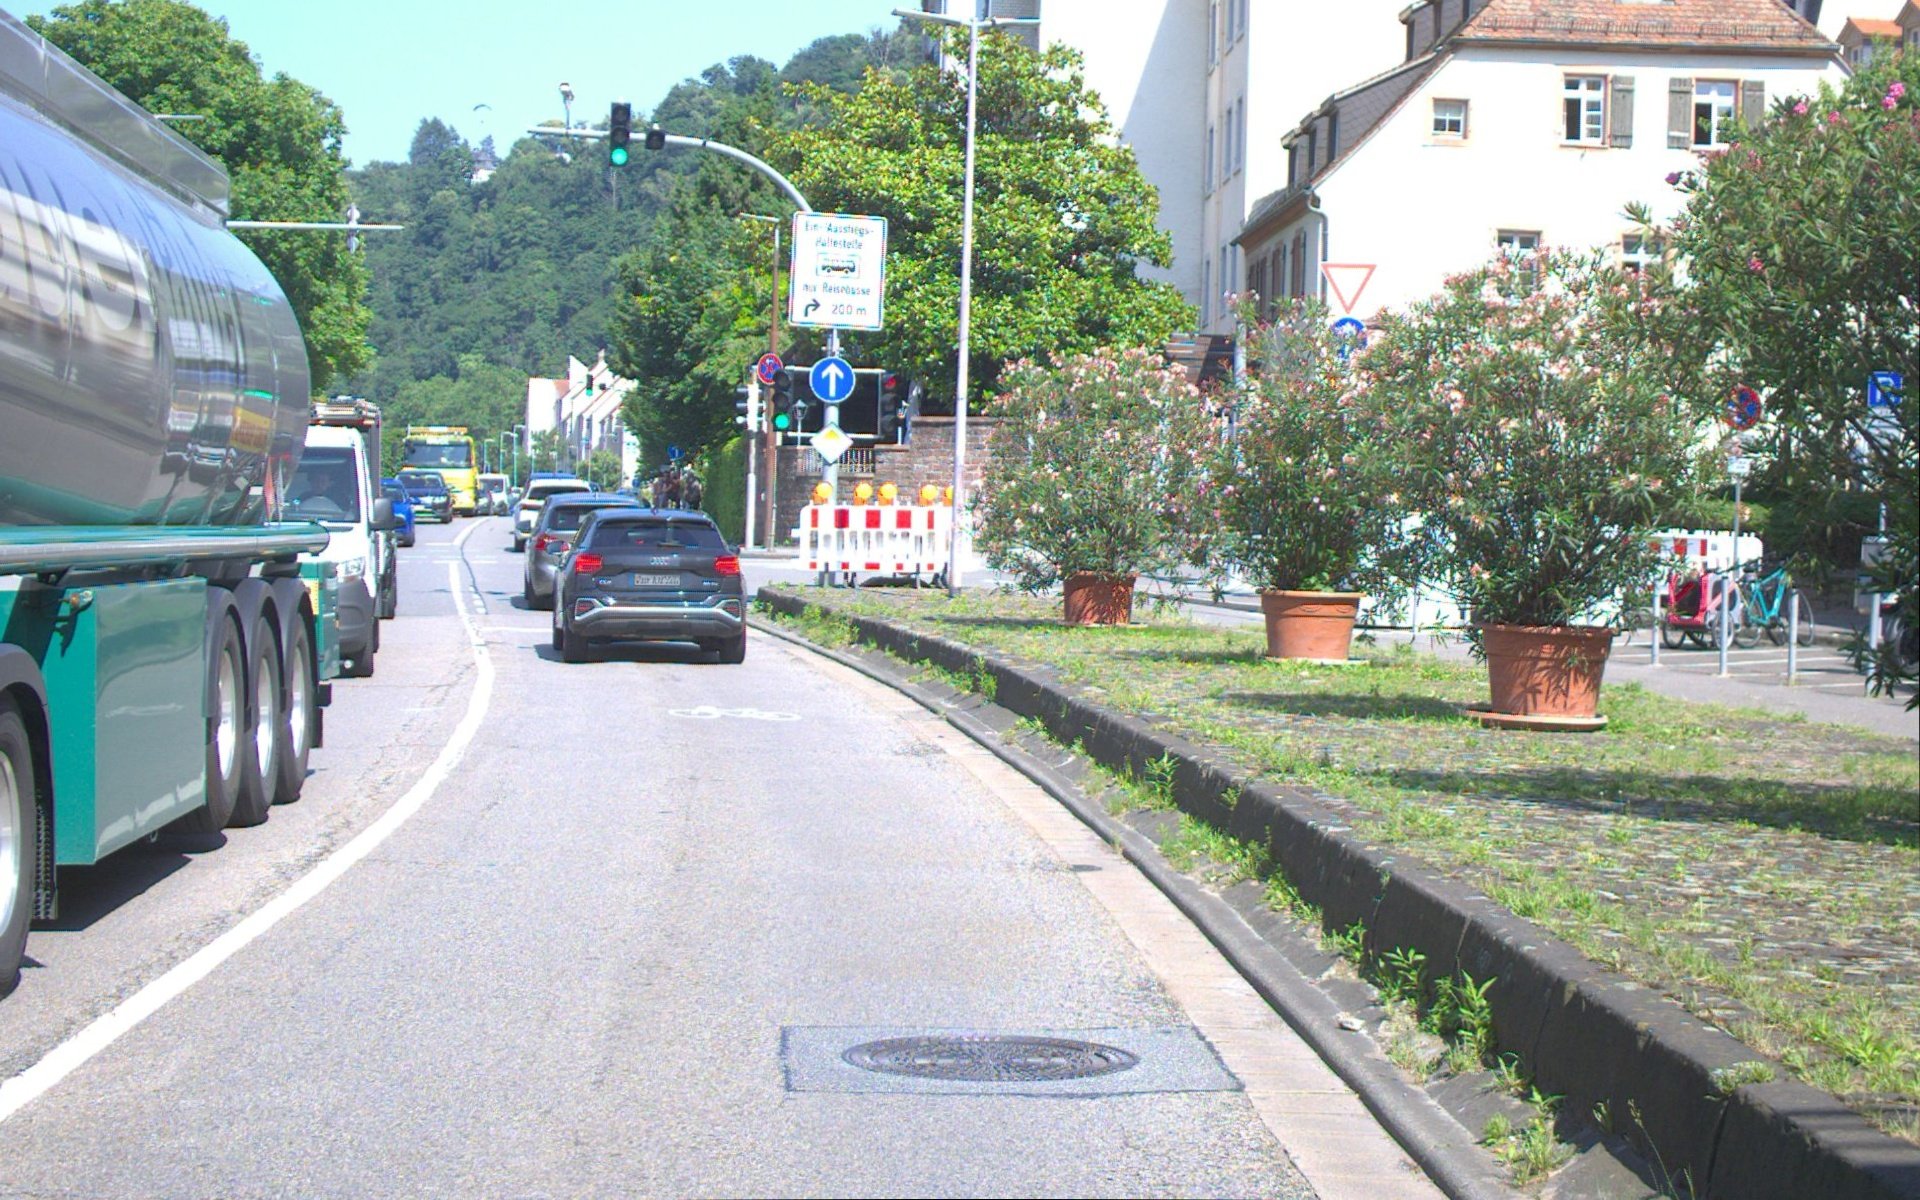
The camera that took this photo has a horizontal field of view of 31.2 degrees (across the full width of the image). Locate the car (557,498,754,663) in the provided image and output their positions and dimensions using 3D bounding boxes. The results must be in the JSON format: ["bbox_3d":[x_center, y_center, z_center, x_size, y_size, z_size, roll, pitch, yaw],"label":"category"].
[{"bbox_3d":[-3.119,-0.241,34.737,1.856,1.518,4.001,0,2,-6],"label":"car"}]

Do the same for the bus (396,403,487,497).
[{"bbox_3d":[-16.697,-4.853,111.139,2.596,2.886,8.450,1,2,-7],"label":"bus"}]

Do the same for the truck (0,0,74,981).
[{"bbox_3d":[-4.168,-0.601,8.556,2.523,3.735,6.247,0,2,-3],"label":"truck"}]

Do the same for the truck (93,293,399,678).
[{"bbox_3d":[-6.727,-1.133,33.229,2.375,3.250,7.614,-2,2,-8],"label":"truck"}]

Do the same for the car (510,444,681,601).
[{"bbox_3d":[-4.973,-1.012,46.509,1.993,2.007,4.001,1,0,-10],"label":"car"}]

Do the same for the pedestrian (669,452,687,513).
[{"bbox_3d":[-7.499,-3.122,91.436,0.455,1.600,0.579,1,1,-6],"label":"pedestrian"}]

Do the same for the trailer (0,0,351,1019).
[{"bbox_3d":[-4.479,-0.614,14.287,2.523,3.631,11.533,0,2,-3],"label":"trailer"}]

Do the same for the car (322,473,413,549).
[{"bbox_3d":[-12.649,-1.918,73.277,1.808,1.503,4.002,1,2,-11],"label":"car"}]

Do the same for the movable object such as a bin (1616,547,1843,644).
[{"bbox_3d":[9.349,-0.078,41.693,2.948,1.106,1.257,-1,3,-44],"label":"movable object such as a bin"}]

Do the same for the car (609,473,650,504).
[{"bbox_3d":[-16.758,-5.621,174.301,1.993,1.448,4.009,1,0,-6],"label":"car"}]

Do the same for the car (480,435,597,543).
[{"bbox_3d":[-8.637,-2.244,70.198,1.993,2.007,4.001,4,1,-10],"label":"car"}]

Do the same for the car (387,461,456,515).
[{"bbox_3d":[-14.783,-3.088,94.292,1.808,1.401,4.358,1,2,-9],"label":"car"}]

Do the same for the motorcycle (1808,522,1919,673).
[{"bbox_3d":[10.259,-0.059,36.790,2.490,1.527,1.053,-2,3,-42],"label":"motorcycle"}]

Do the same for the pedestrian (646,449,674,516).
[{"bbox_3d":[-7.843,-3.063,89.972,0.680,1.736,0.913,1,1,-7],"label":"pedestrian"}]
